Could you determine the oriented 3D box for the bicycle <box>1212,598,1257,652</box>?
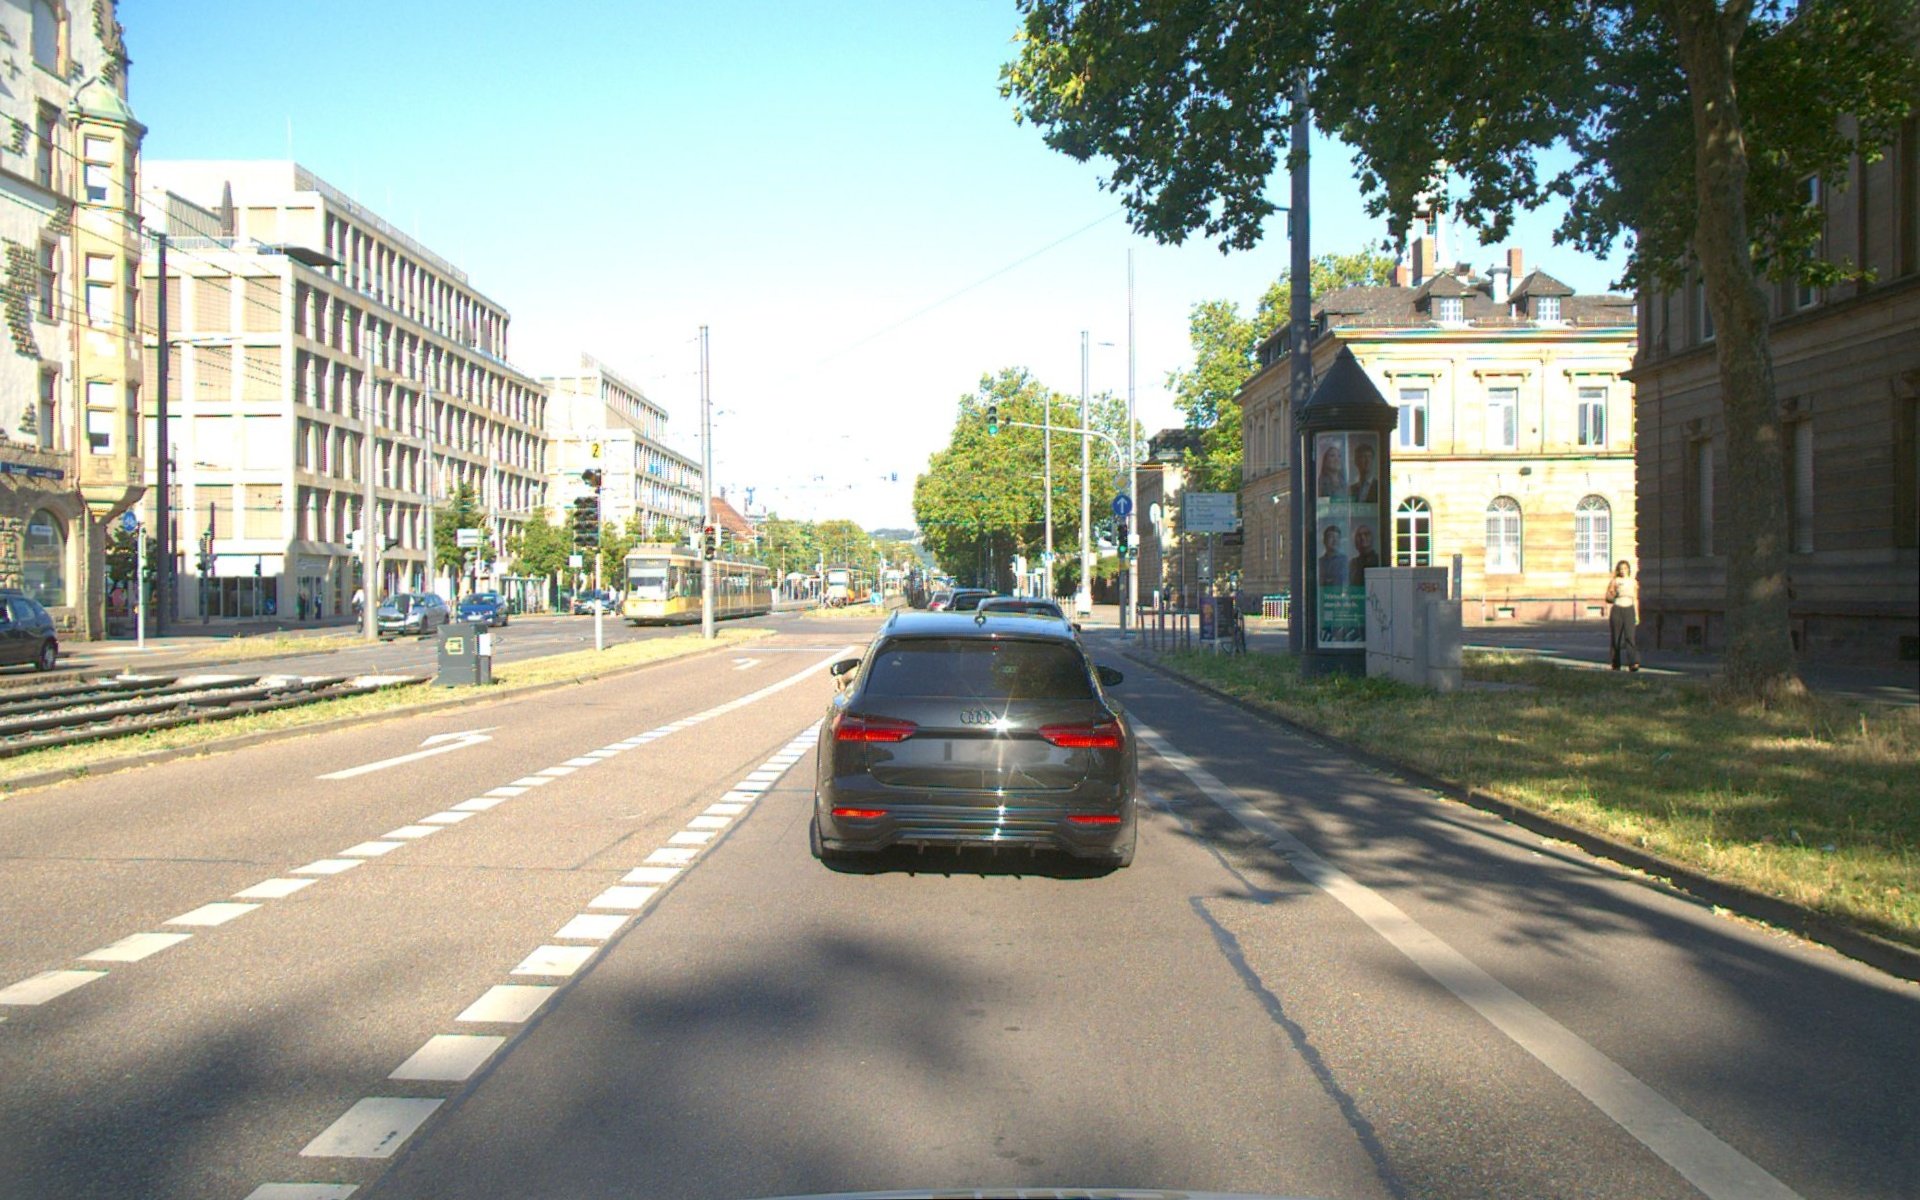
[{"bbox_3d":[5.708,0.503,34.469,0.529,1.080,1.770,-1,0,-4],"label":"bicycle"}]

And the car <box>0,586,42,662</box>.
[{"bbox_3d":[-22.634,0.545,37.218,1.682,1.704,4.215,2,0,-2],"label":"car"}]

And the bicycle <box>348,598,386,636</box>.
[{"bbox_3d":[-22.435,0.633,62.597,0.671,1.406,1.947,-1,0,1],"label":"bicycle"}]

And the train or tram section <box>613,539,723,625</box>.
[{"bbox_3d":[-13.117,-0.785,75.527,2.755,3.550,13.202,-1,0,0],"label":"train or tram section"}]

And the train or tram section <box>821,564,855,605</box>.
[{"bbox_3d":[-10.693,-1.361,146.073,2.556,3.511,11.128,-1,0,-2],"label":"train or tram section"}]

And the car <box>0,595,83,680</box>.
[{"bbox_3d":[-17.748,0.674,29.796,1.783,1.482,4.164,-1,0,-3],"label":"car"}]

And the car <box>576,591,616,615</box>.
[{"bbox_3d":[-23.312,0.177,106.036,1.783,1.482,4.154,-1,0,-3],"label":"car"}]

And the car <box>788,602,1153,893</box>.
[{"bbox_3d":[0.057,0.761,10.567,1.864,1.446,4.144,0,0,0],"label":"car"}]

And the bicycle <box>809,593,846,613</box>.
[{"bbox_3d":[-7.497,0.168,93.461,1.976,1.127,0.760,-1,0,-20],"label":"bicycle"}]

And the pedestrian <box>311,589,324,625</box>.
[{"bbox_3d":[-34.415,0.379,88.570,0.527,1.876,0.437,-1,0,-38],"label":"pedestrian"}]

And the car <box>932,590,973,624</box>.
[{"bbox_3d":[-0.320,0.305,77.277,1.864,1.512,4.144,0,0,0],"label":"car"}]

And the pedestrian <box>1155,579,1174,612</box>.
[{"bbox_3d":[11.578,-0.255,93.663,0.958,1.898,0.827,-1,0,2],"label":"pedestrian"}]

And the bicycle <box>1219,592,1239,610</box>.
[{"bbox_3d":[16.621,0.053,102.282,0.516,1.065,2.355,-1,0,-8],"label":"bicycle"}]

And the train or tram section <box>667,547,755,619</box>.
[{"bbox_3d":[-13.196,-0.864,88.726,2.755,3.550,13.202,-1,0,0],"label":"train or tram section"}]

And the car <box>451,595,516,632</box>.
[{"bbox_3d":[-20.412,0.562,70.991,1.783,1.482,4.154,-1,0,-3],"label":"car"}]

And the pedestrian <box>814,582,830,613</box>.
[{"bbox_3d":[-7.931,-0.156,94.993,0.729,1.772,0.660,-1,0,-19],"label":"pedestrian"}]

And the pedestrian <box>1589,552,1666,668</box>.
[{"bbox_3d":[10.295,0.149,25.526,0.753,1.739,1.042,-1,0,1],"label":"pedestrian"}]

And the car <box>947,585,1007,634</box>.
[{"bbox_3d":[0.534,0.279,53.249,1.864,1.512,4.144,0,0,0],"label":"car"}]

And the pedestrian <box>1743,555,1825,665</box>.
[{"bbox_3d":[12.562,0.154,25.247,0.753,1.634,0.986,-1,0,1],"label":"pedestrian"}]

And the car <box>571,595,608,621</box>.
[{"bbox_3d":[-26.803,0.563,119.906,1.804,1.844,4.112,-1,0,-1],"label":"car"}]

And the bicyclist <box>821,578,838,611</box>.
[{"bbox_3d":[-7.371,-0.304,93.518,0.745,1.850,0.760,-1,0,-19],"label":"bicyclist"}]

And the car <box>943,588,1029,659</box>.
[{"bbox_3d":[0.565,0.498,37.861,1.864,1.512,4.144,0,0,0],"label":"car"}]

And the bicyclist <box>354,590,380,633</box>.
[{"bbox_3d":[-22.444,0.440,62.579,0.671,1.590,0.785,-1,0,1],"label":"bicyclist"}]

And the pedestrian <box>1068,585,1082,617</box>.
[{"bbox_3d":[6.094,0.045,87.720,0.668,1.689,0.758,-1,0,-2],"label":"pedestrian"}]

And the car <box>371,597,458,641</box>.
[{"bbox_3d":[-19.507,0.639,59.349,1.783,1.482,4.538,-1,0,-3],"label":"car"}]

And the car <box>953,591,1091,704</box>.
[{"bbox_3d":[0.839,0.637,24.460,1.864,1.512,4.144,0,0,0],"label":"car"}]

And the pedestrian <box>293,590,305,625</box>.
[{"bbox_3d":[-35.171,0.391,87.980,0.468,1.876,0.437,-1,0,-38],"label":"pedestrian"}]
